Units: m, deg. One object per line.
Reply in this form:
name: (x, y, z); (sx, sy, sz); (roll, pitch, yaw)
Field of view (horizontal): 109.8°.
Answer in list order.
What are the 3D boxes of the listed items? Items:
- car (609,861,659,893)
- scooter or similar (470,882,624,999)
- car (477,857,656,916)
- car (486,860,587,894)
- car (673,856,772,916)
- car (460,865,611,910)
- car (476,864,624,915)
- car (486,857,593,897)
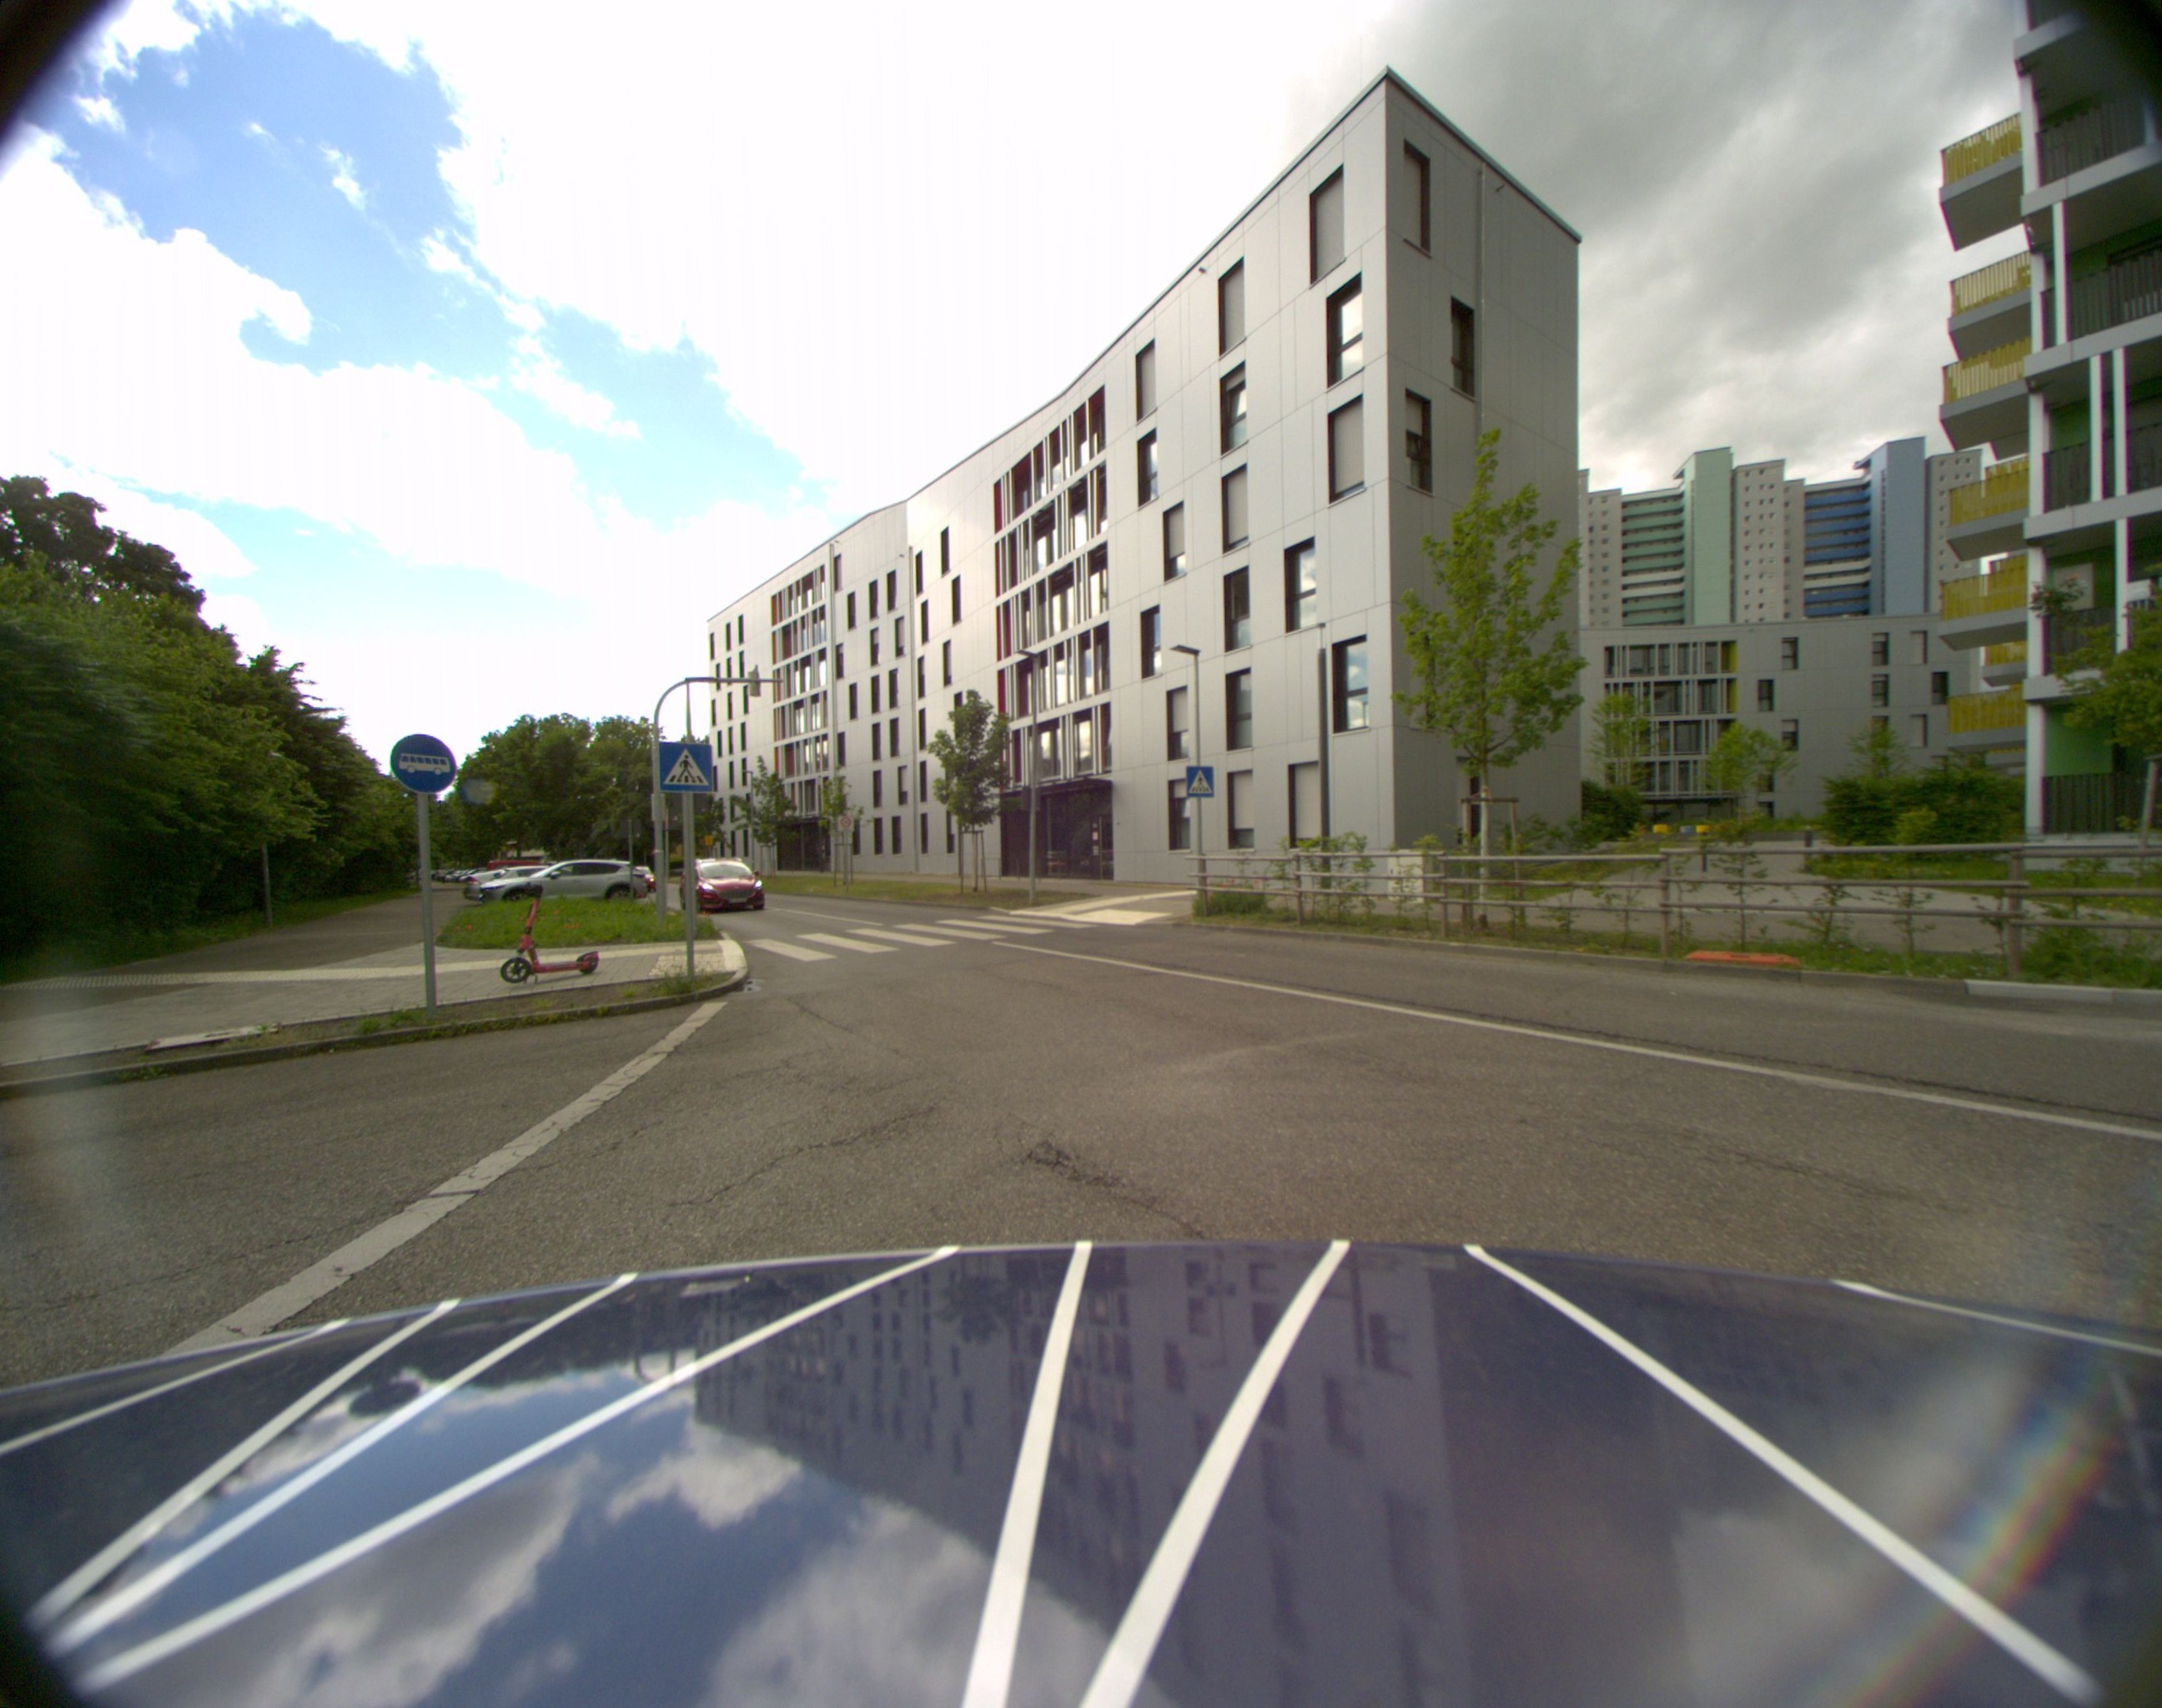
car: (-24.821, 1.227, 42.149); (1.822, 1.608, 3.989); (-2, 1, -38)
scooter or similar: (-6.849, 1.063, 9.834); (0.571, 1.305, 1.527); (-1, 1, 21)
car: (-16.801, 1.011, 24.934); (4.673, 1.741, 2.064); (1, -1, -41)
car: (-30.954, 1.278, 43.253); (4.575, 1.887, 1.879); (1, -1, -39)
car: (-11.368, 0.919, 23.943); (1.938, 1.622, 4.231); (-4, 2, -37)
car: (-20.463, 1.193, 28.608); (4.501, 1.553, 1.906); (0, -1, -39)
car: (-18.761, 1.190, 26.923); (4.176, 1.577, 1.791); (-1, 0, -39)
car: (-27.716, 1.140, 38.952); (4.303, 1.881, 1.832); (-1, 0, -39)
